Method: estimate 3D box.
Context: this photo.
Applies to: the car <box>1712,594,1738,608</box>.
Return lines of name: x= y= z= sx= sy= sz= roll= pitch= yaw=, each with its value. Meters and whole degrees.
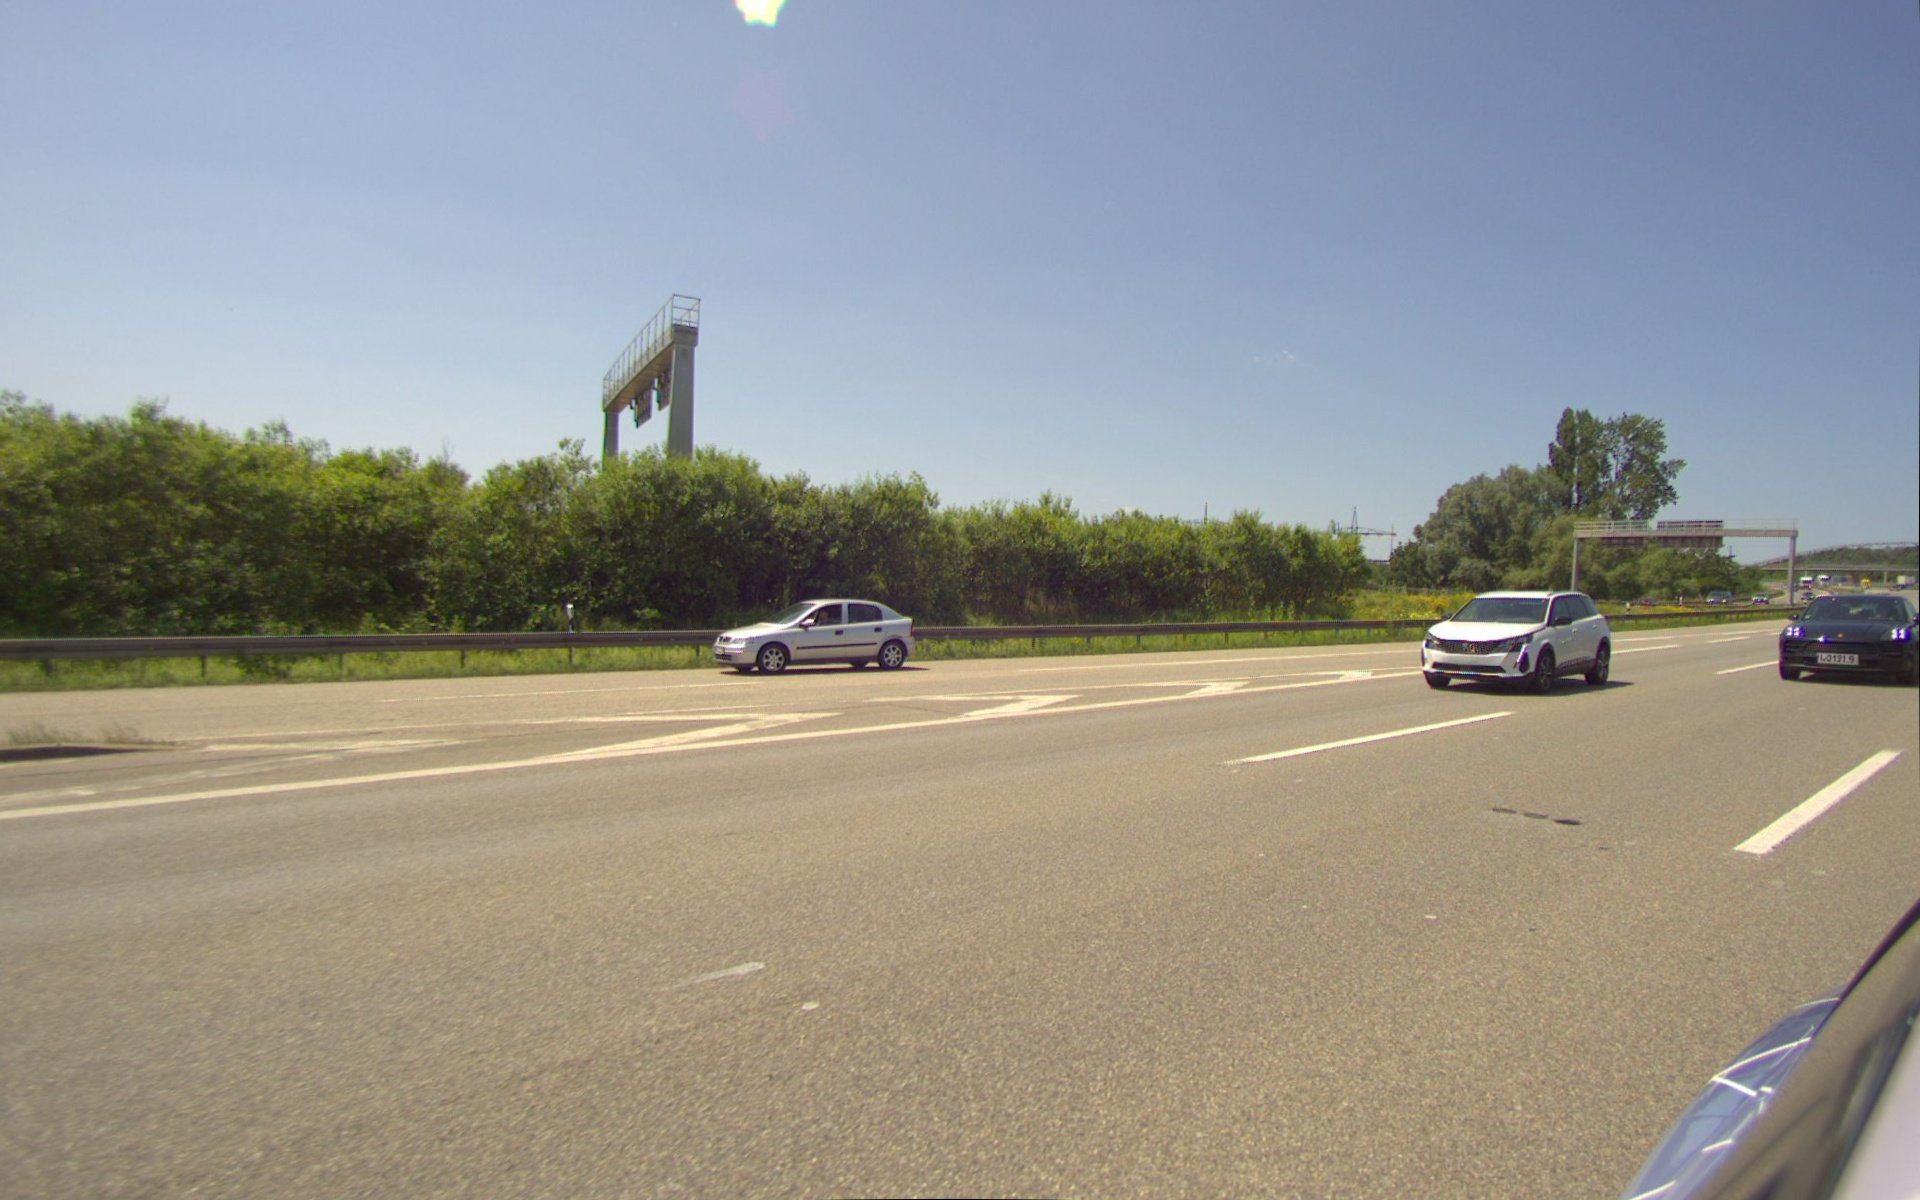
car: x=89.243 y=0.105 z=118.058 sx=4.058 sy=1.594 sz=1.702 roll=-1 pitch=1 yaw=-42

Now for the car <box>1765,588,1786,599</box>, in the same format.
car: x=117.951 y=-0.944 z=146.329 sx=4.057 sy=1.594 sz=1.702 roll=-1 pitch=1 yaw=-41

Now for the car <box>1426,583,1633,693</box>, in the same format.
car: x=9.849 y=0.541 z=17.351 sx=4.541 sy=1.611 sz=1.746 roll=-1 pitch=1 yaw=-42

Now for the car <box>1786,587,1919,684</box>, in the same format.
car: x=17.330 y=0.580 z=19.230 sx=4.061 sy=1.615 sz=1.929 roll=-1 pitch=1 yaw=-42

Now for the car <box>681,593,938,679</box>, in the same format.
car: x=-2.919 y=0.624 z=20.137 sx=4.753 sy=1.455 sz=1.792 roll=-1 pitch=1 yaw=-33

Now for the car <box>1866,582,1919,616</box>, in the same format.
car: x=56.100 y=-0.108 z=60.835 sx=4.219 sy=1.943 sz=1.808 roll=-1 pitch=1 yaw=-40

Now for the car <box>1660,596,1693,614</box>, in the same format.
car: x=67.842 y=0.477 z=95.784 sx=4.058 sy=1.594 sz=1.702 roll=-1 pitch=1 yaw=-42
